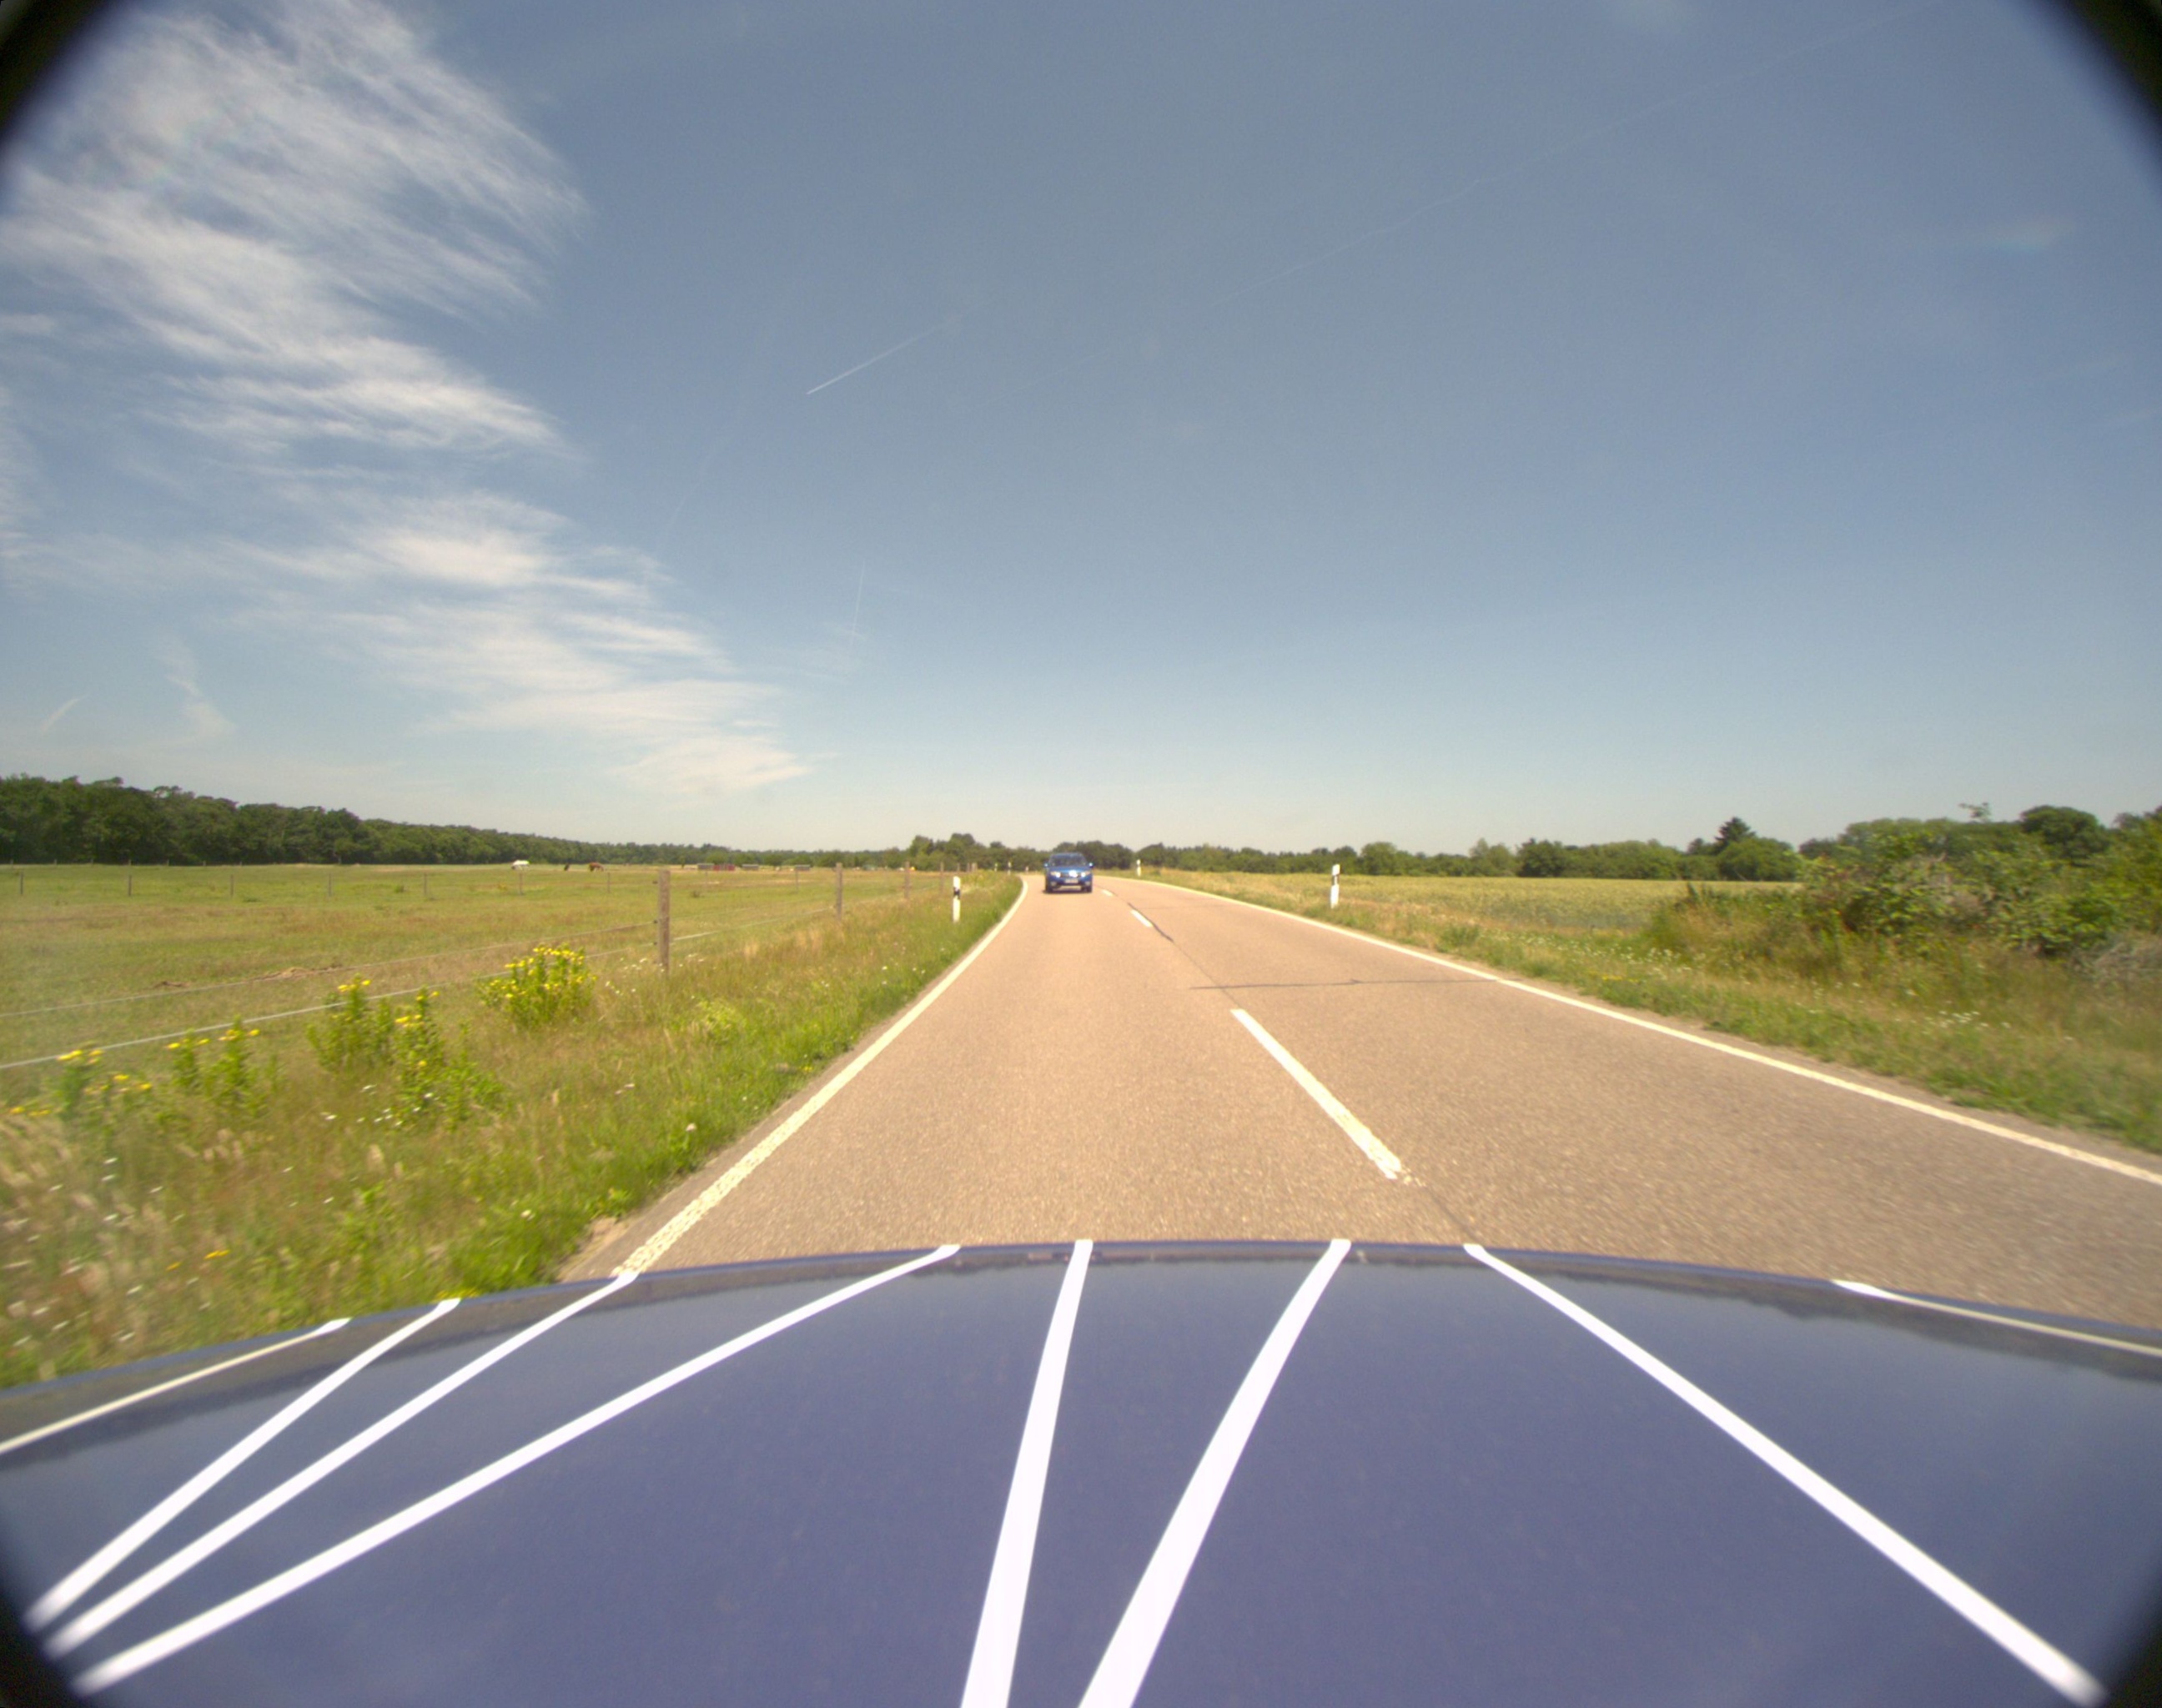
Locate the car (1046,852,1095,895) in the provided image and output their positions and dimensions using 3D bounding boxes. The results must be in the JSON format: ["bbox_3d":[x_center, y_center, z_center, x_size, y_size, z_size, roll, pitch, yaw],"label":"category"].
[{"bbox_3d":[-0.488,0.712,30.621,1.735,1.572,3.998,-1,0,-3],"label":"car"}]
